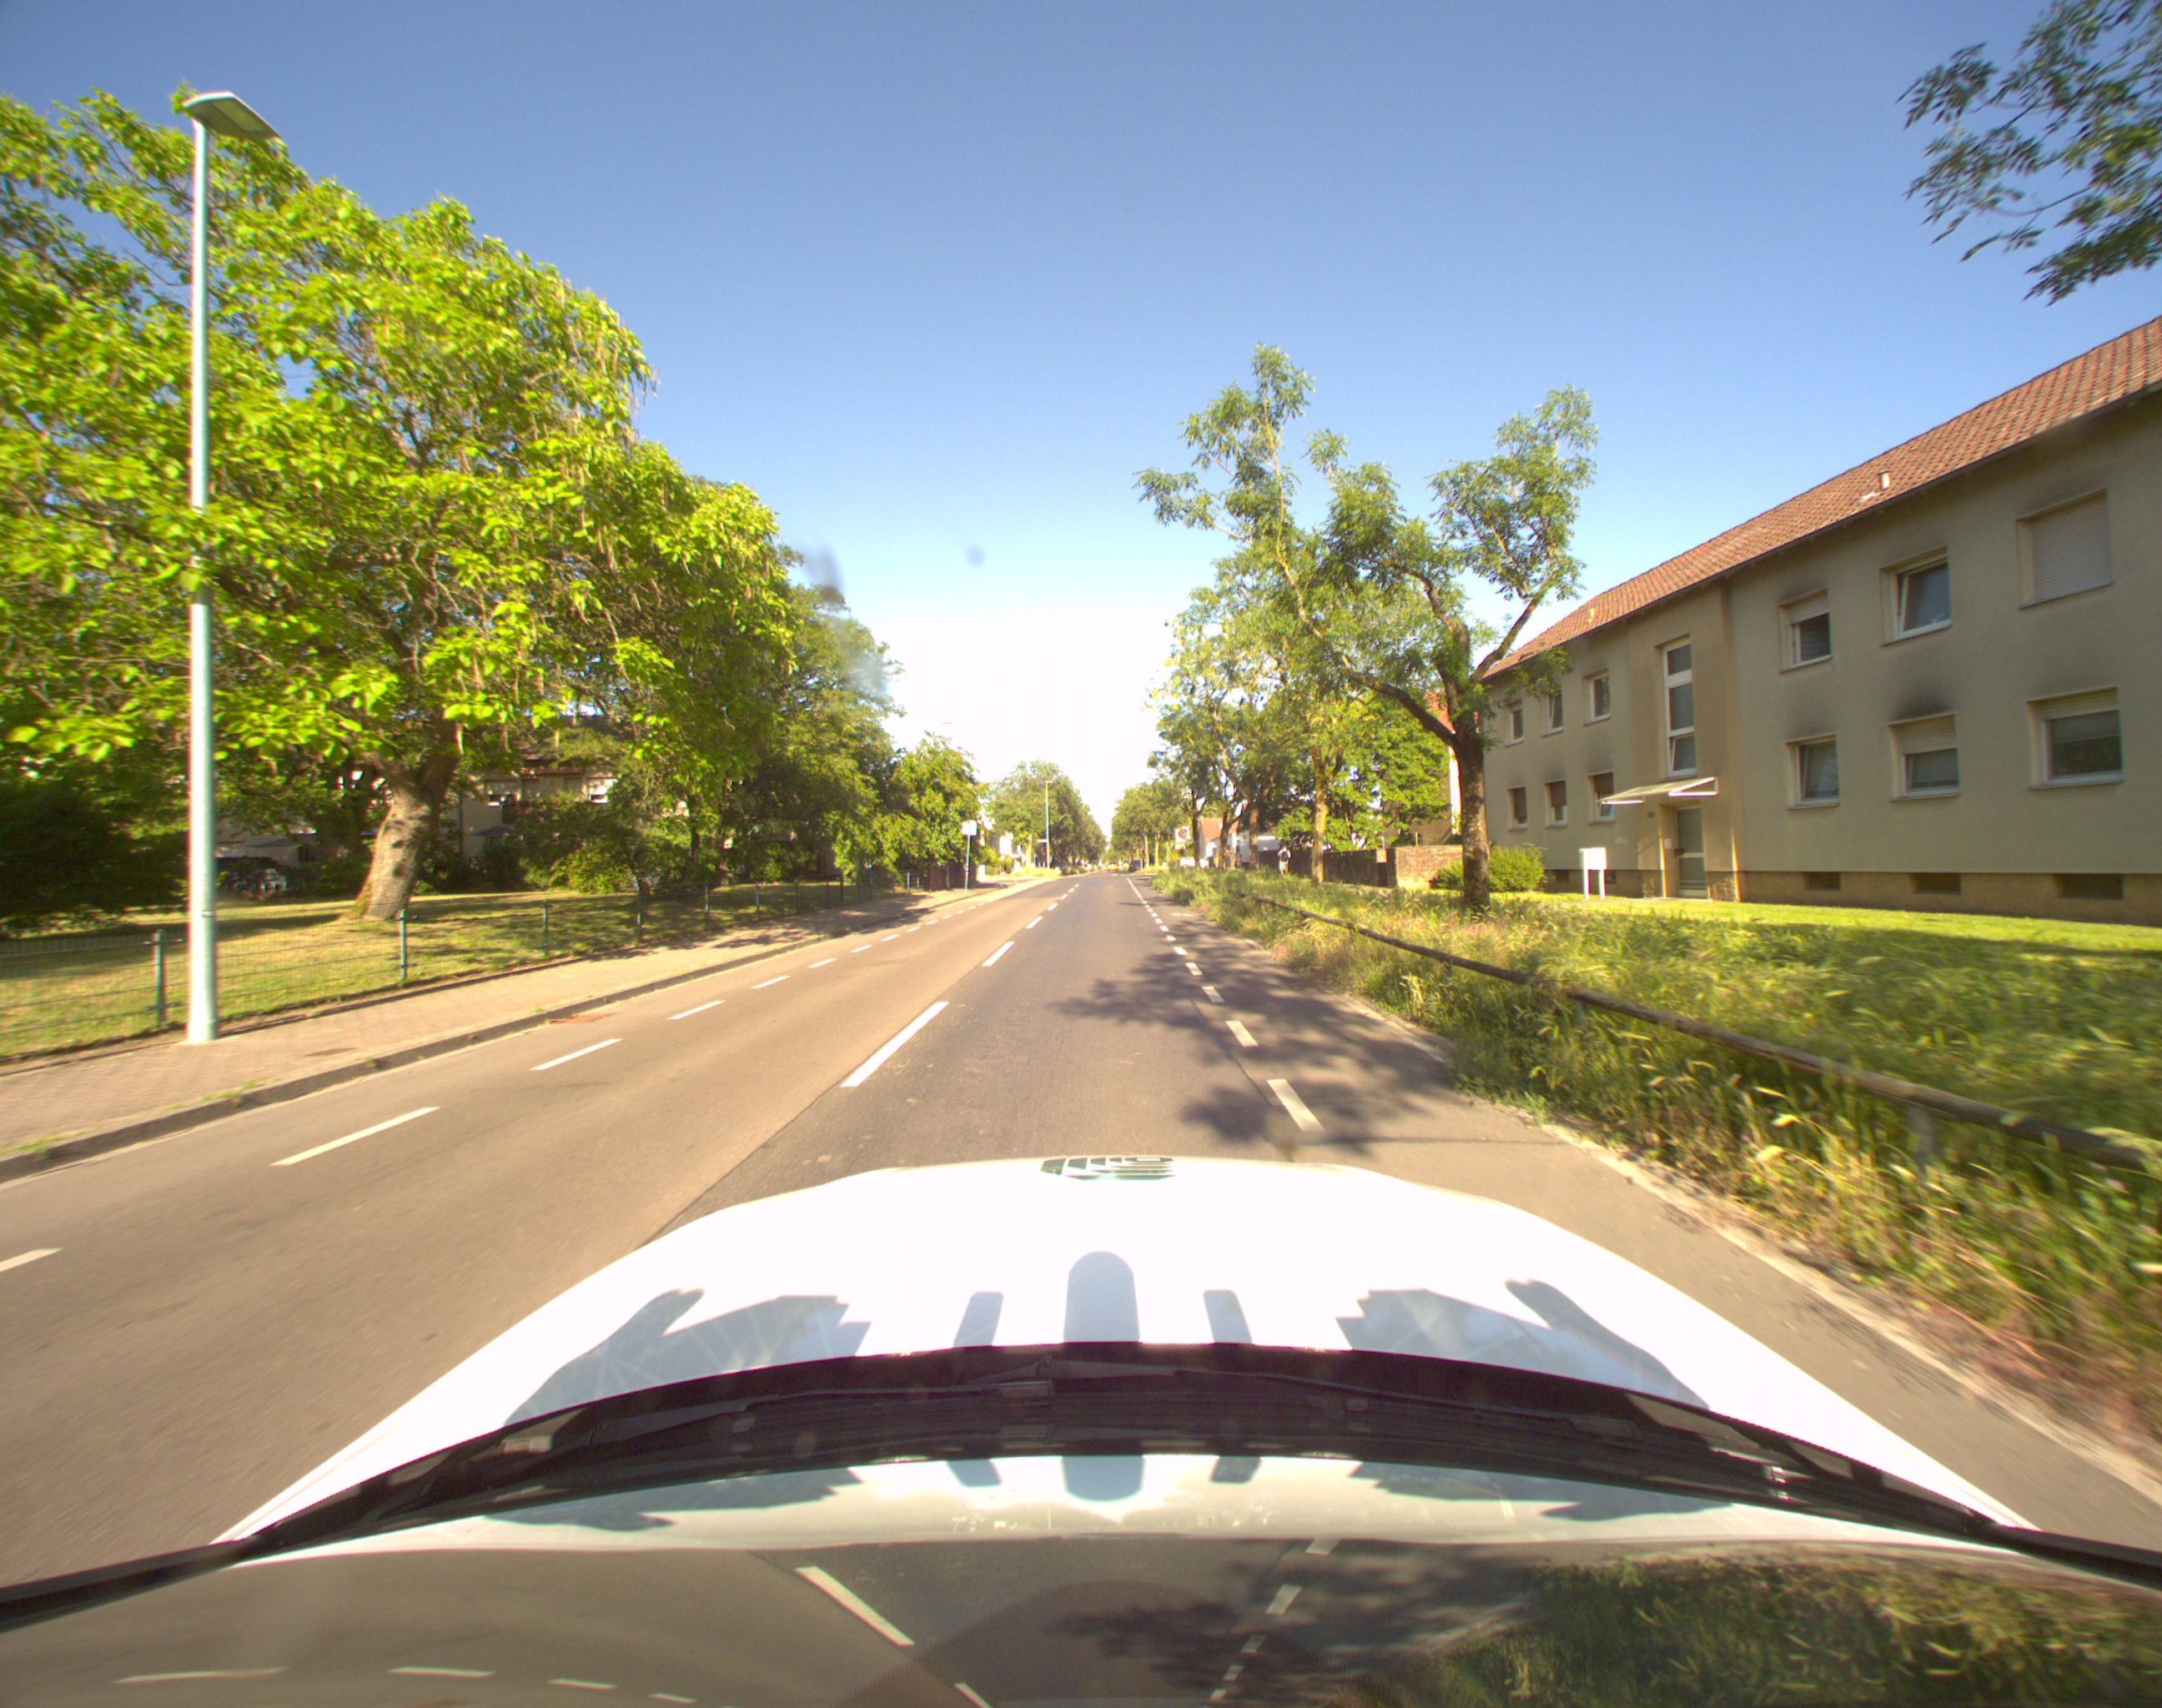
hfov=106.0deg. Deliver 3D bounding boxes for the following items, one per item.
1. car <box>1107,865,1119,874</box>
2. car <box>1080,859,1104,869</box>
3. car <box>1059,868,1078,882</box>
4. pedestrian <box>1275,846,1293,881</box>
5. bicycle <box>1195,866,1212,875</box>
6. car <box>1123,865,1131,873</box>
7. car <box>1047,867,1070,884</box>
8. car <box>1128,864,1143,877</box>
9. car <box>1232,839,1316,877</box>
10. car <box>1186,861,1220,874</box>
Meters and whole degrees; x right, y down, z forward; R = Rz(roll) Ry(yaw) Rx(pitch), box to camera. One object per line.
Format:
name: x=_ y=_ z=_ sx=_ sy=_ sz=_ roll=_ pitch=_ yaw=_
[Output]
car: x=5.591 y=2.802 z=143.477 sx=1.882 sy=1.479 sz=3.886 roll=1 pitch=-2 yaw=0
car: x=2.634 y=2.422 z=192.840 sx=5.480 sy=2.247 sz=2.517 roll=0 pitch=0 yaw=0
car: x=-1.457 y=2.456 z=95.350 sx=1.931 sy=1.609 sz=4.386 roll=0 pitch=-2 yaw=3
pedestrian: x=10.043 y=0.467 z=40.315 sx=0.635 sy=1.706 sz=0.612 roll=-4 pitch=0 yaw=1
bicycle: x=14.863 y=1.978 z=98.945 sx=1.951 sy=0.998 sz=0.576 roll=-3 pitch=0 yaw=0
car: x=10.323 y=3.441 z=183.548 sx=1.895 sy=1.774 sz=4.303 roll=0 pitch=-2 yaw=3
car: x=-2.253 y=2.208 z=83.394 sx=1.945 sy=1.727 sz=4.878 roll=0 pitch=-2 yaw=3
car: x=7.409 y=2.302 z=110.479 sx=1.846 sy=1.626 sz=4.470 roll=-3 pitch=-2 yaw=2
car: x=13.975 y=0.283 z=59.207 sx=5.578 sy=2.539 sz=2.265 roll=-1 pitch=-1 yaw=-1
car: x=15.269 y=1.694 z=102.078 sx=3.973 sy=1.489 sz=1.902 roll=-3 pitch=0 yaw=0
